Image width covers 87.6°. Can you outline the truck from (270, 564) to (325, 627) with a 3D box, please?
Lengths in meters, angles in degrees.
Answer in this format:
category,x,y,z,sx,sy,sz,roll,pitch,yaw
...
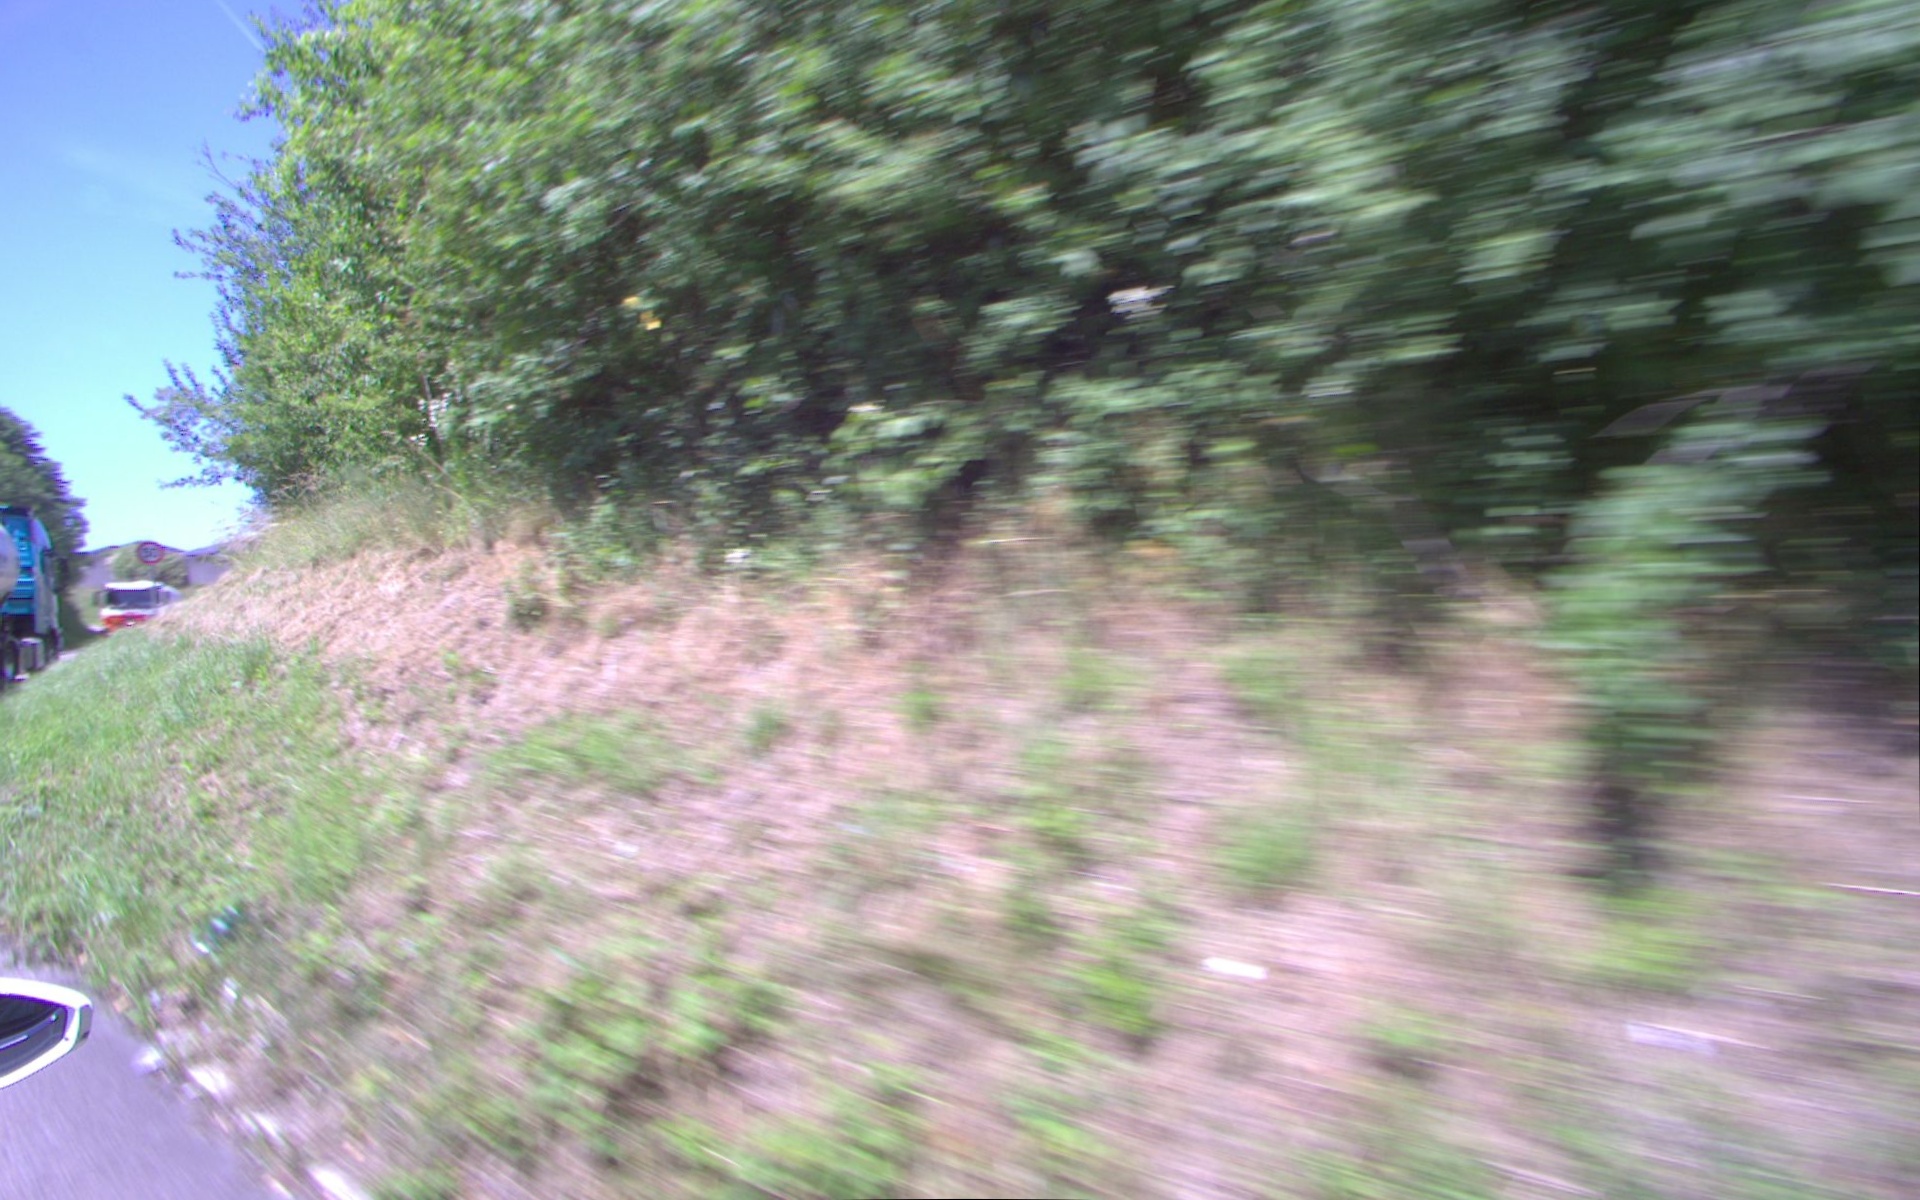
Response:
category,x,y,z,sx,sy,sz,roll,pitch,yaw
truck,-49.933,-0.296,75.429,3.159,4.367,11.721,-1,0,-34

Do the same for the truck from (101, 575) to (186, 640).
category,x,y,z,sx,sy,sz,roll,pitch,yaw
truck,-43.315,0.385,53.293,2.598,3.212,7.025,-1,0,-33

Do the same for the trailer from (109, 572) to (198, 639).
category,x,y,z,sx,sy,sz,roll,pitch,yaw
trailer,-45.628,0.349,56.934,2.605,3.417,11.076,-2,0,-33

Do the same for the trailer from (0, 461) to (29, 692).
category,x,y,z,sx,sy,sz,roll,pitch,yaw
trailer,-17.126,-0.456,15.531,2.637,4.244,11.814,-1,0,-37

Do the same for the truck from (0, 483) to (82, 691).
category,x,y,z,sx,sy,sz,roll,pitch,yaw
truck,-21.384,-0.166,21.486,2.699,3.981,7.220,-1,-1,-33
